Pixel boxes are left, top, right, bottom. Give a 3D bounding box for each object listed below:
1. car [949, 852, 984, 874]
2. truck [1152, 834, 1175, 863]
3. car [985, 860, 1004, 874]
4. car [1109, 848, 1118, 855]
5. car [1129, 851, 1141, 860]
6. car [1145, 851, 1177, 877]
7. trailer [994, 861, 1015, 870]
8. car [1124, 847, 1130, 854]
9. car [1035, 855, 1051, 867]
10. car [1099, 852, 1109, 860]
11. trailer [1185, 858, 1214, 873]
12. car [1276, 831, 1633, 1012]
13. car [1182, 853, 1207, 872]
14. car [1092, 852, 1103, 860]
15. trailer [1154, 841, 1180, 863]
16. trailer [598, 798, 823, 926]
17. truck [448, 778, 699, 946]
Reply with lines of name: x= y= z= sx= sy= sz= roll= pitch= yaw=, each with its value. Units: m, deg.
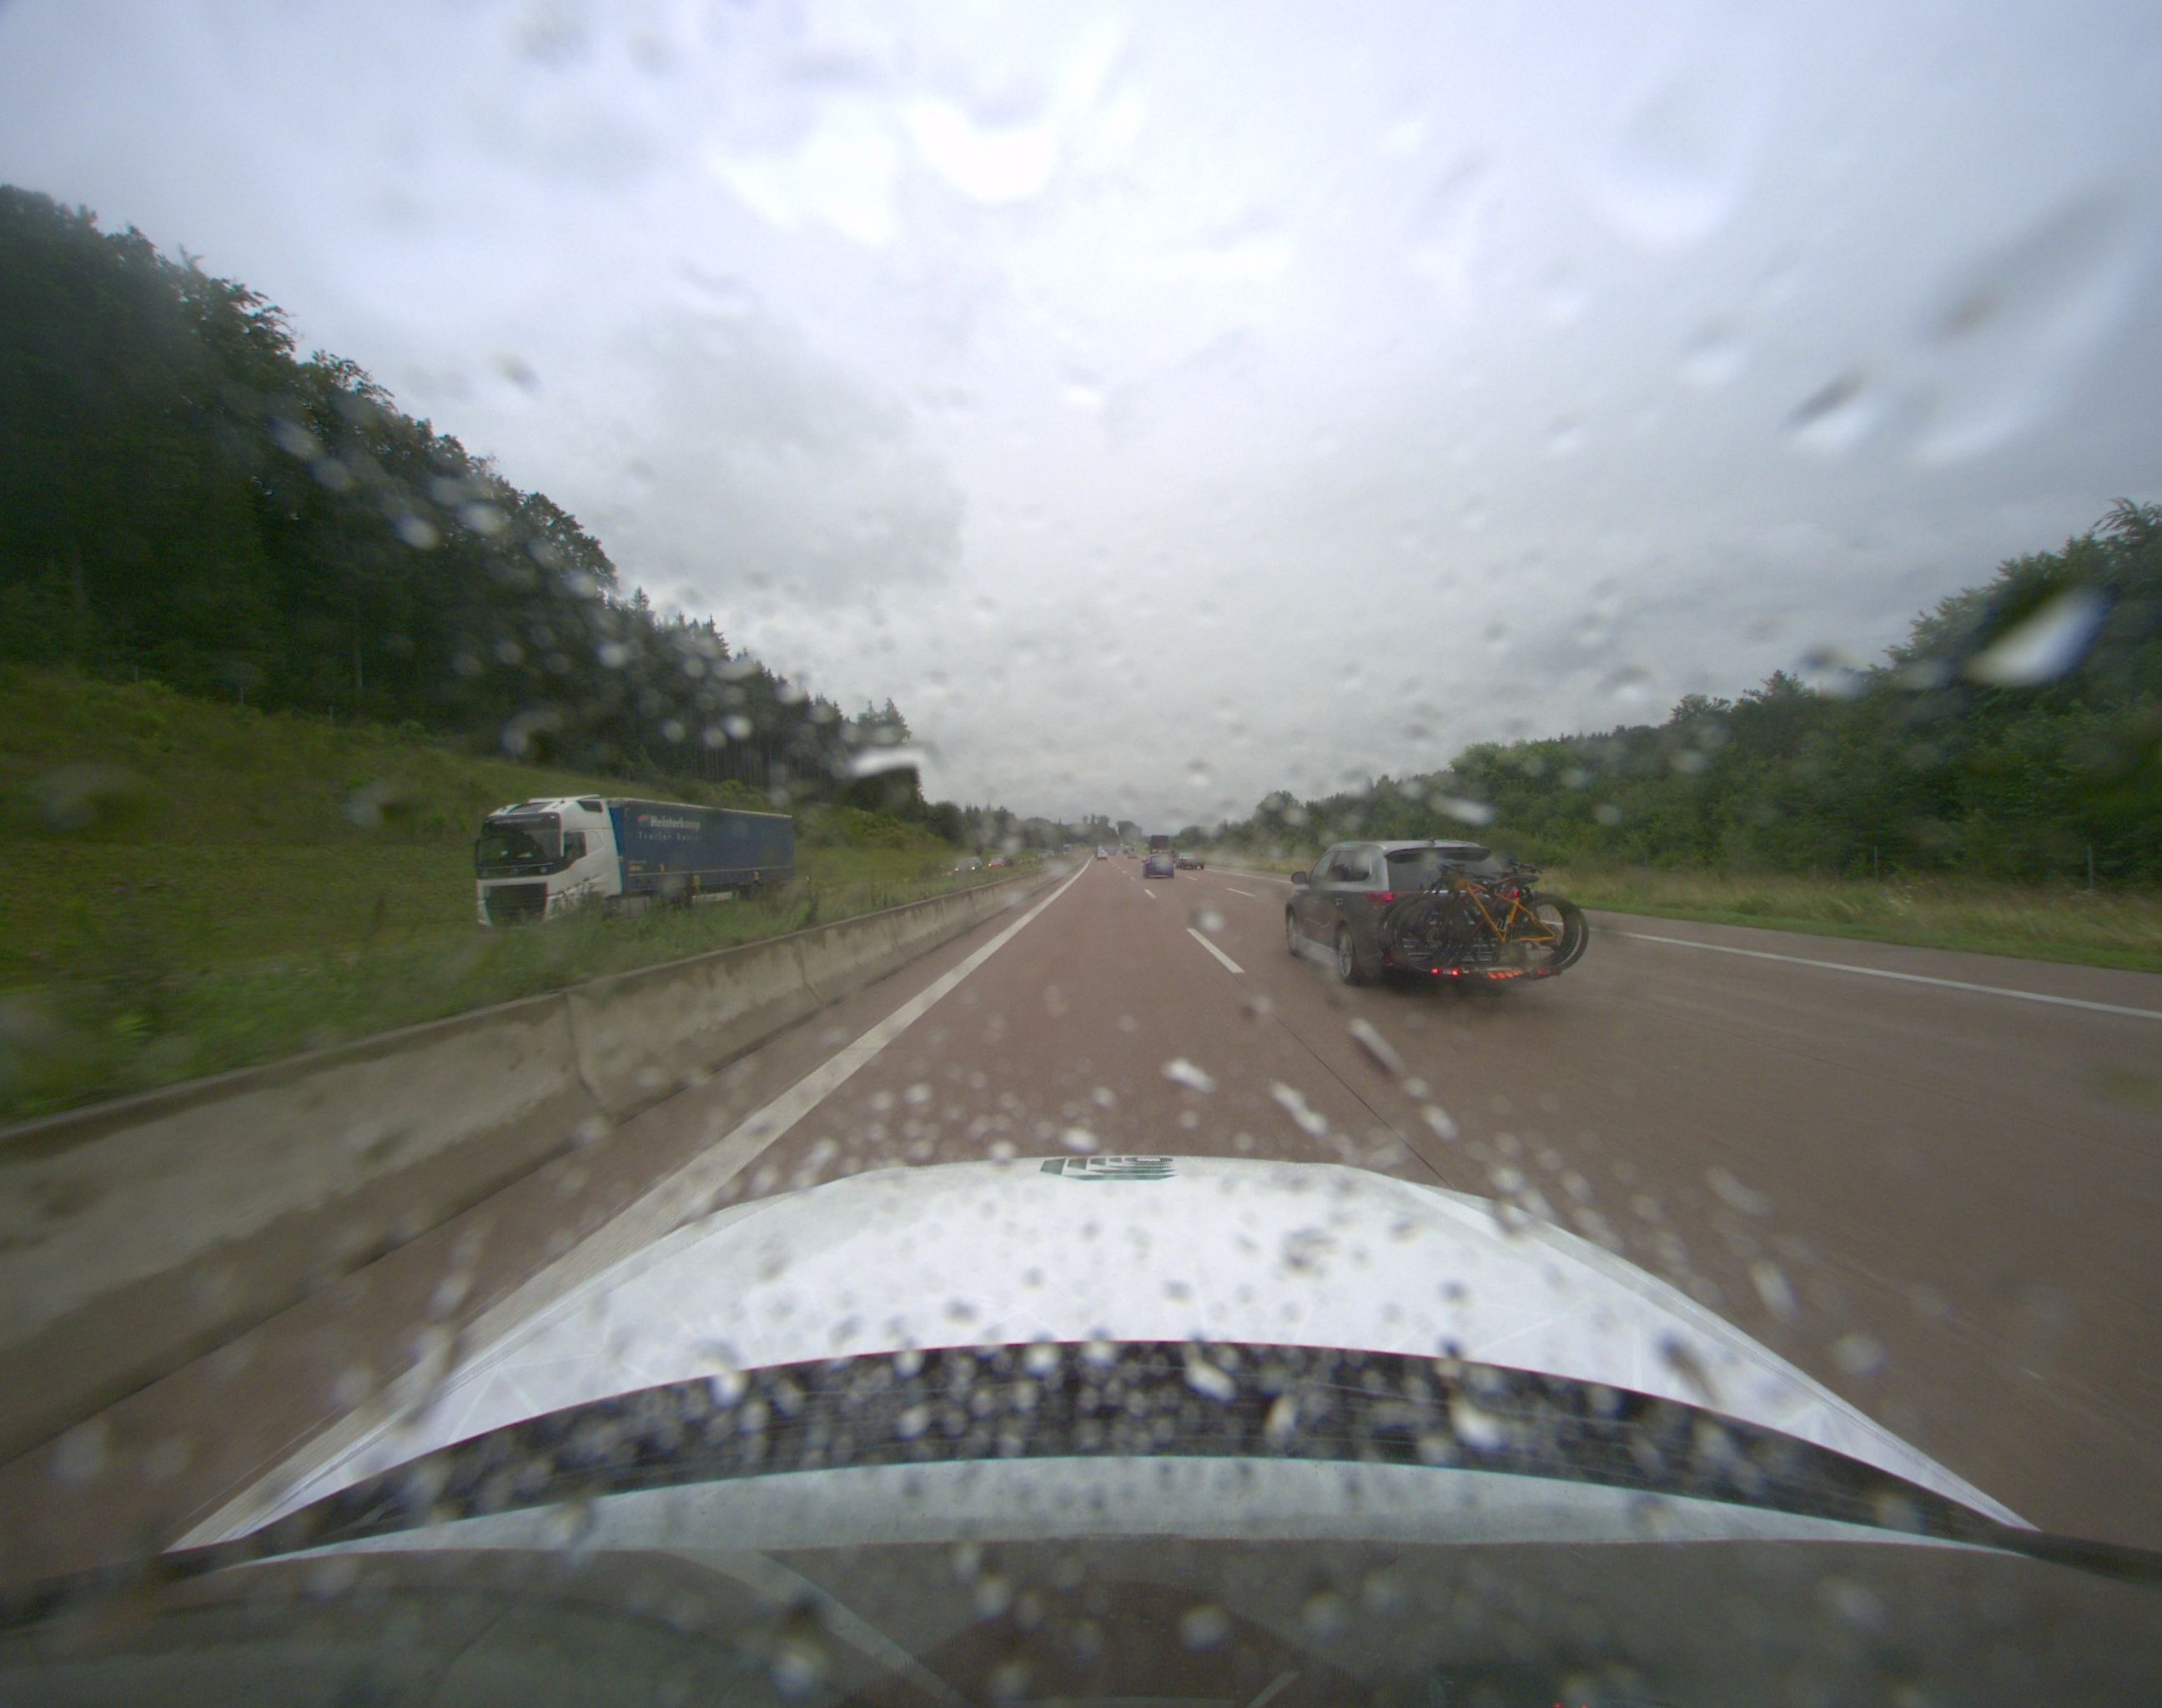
car: x=-9.677 y=0.741 z=69.333 sx=1.986 sy=1.767 sz=5.097 roll=-1 pitch=1 yaw=2
truck: x=11.720 y=-0.757 z=116.351 sx=2.886 sy=3.964 sz=6.992 roll=0 pitch=-1 yaw=2
car: x=-9.853 y=1.496 z=93.017 sx=1.720 sy=1.529 sz=4.118 roll=0 pitch=-1 yaw=1
car: x=8.717 y=-0.675 z=218.232 sx=2.313 sy=1.750 sz=4.879 roll=0 pitch=-1 yaw=2
car: x=10.777 y=0.383 z=164.143 sx=2.313 sy=1.750 sz=4.879 roll=0 pitch=-1 yaw=2
car: x=4.955 y=0.613 z=50.653 sx=1.764 sy=1.564 sz=4.149 roll=0 pitch=-1 yaw=2
trailer: x=-11.099 y=1.655 z=118.859 sx=2.197 sy=0.998 sz=6.852 roll=-7 pitch=-1 yaw=1
car: x=14.310 y=-1.171 z=254.088 sx=1.986 sy=2.014 sz=4.002 roll=0 pitch=-1 yaw=2
car: x=-5.586 y=1.000 z=119.761 sx=1.883 sy=1.780 sz=4.942 roll=0 pitch=-1 yaw=3
car: x=4.155 y=0.429 z=146.546 sx=1.866 sy=1.444 sz=4.879 roll=0 pitch=-1 yaw=2
trailer: x=9.911 y=0.953 z=68.352 sx=1.964 sy=1.166 sz=4.642 roll=0 pitch=1 yaw=2
car: x=3.994 y=0.625 z=10.126 sx=1.986 sy=1.593 sz=5.823 roll=0 pitch=-1 yaw=2
car: x=10.135 y=0.758 z=73.134 sx=1.691 sy=1.611 sz=4.978 roll=-1 pitch=0 yaw=2
car: x=3.814 y=0.435 z=185.408 sx=2.313 sy=1.750 sz=4.879 roll=0 pitch=-1 yaw=2
trailer: x=11.380 y=-0.185 z=108.664 sx=2.870 sy=2.675 sz=11.405 roll=0 pitch=-1 yaw=2
trailer: x=-14.762 y=0.350 z=34.502 sx=2.908 sy=4.339 sz=13.584 roll=0 pitch=-1 yaw=2
truck: x=-15.079 y=0.250 z=25.138 sx=2.913 sy=4.390 sz=7.406 roll=0 pitch=-1 yaw=2
